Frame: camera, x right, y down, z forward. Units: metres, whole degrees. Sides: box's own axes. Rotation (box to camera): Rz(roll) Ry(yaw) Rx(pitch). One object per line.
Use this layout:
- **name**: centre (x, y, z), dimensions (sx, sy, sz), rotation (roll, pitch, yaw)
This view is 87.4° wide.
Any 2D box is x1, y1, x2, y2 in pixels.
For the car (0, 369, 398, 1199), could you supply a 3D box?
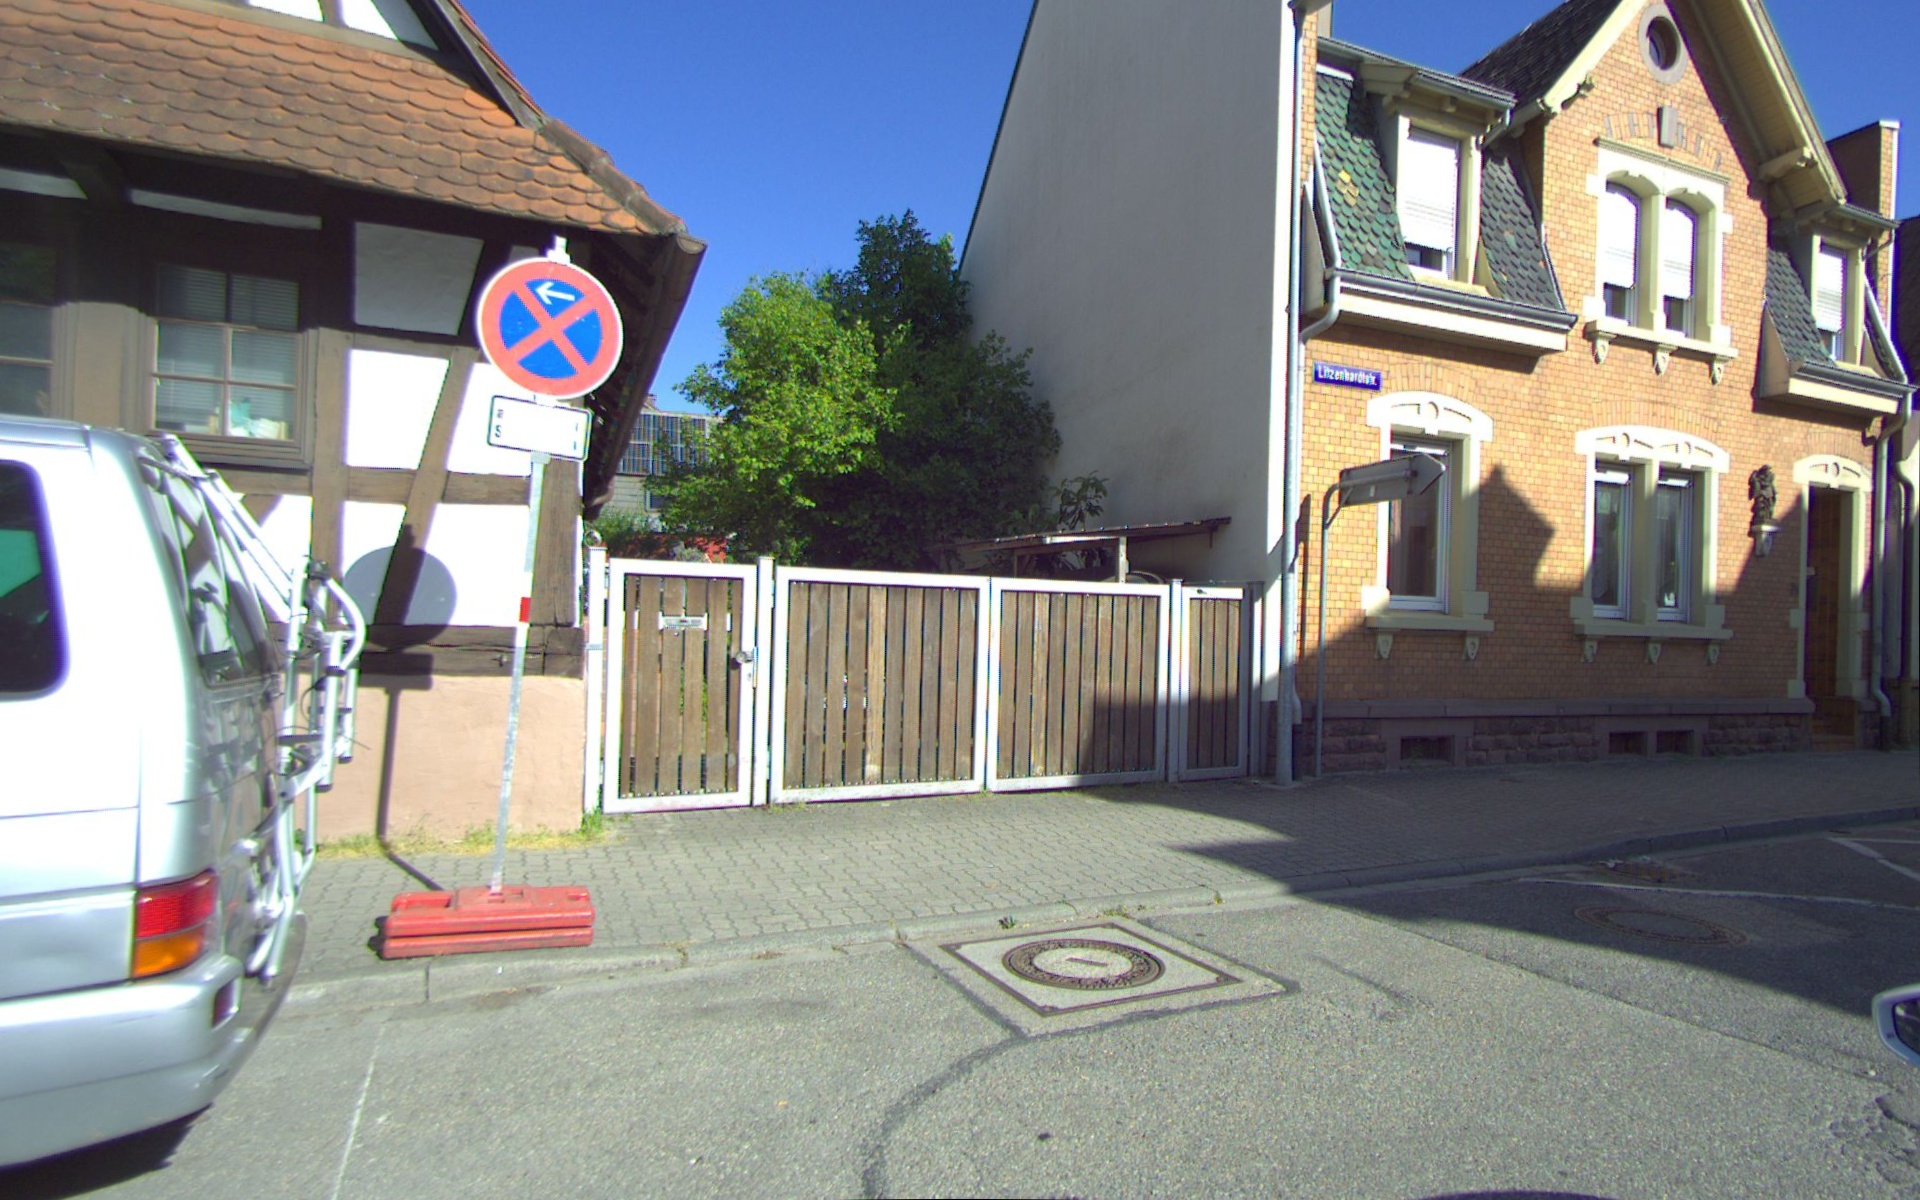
- **car**: centre (-3.845, 0.445, 1.902), dimensions (4.778, 1.906, 1.867), rotation (3, -2, -30)
